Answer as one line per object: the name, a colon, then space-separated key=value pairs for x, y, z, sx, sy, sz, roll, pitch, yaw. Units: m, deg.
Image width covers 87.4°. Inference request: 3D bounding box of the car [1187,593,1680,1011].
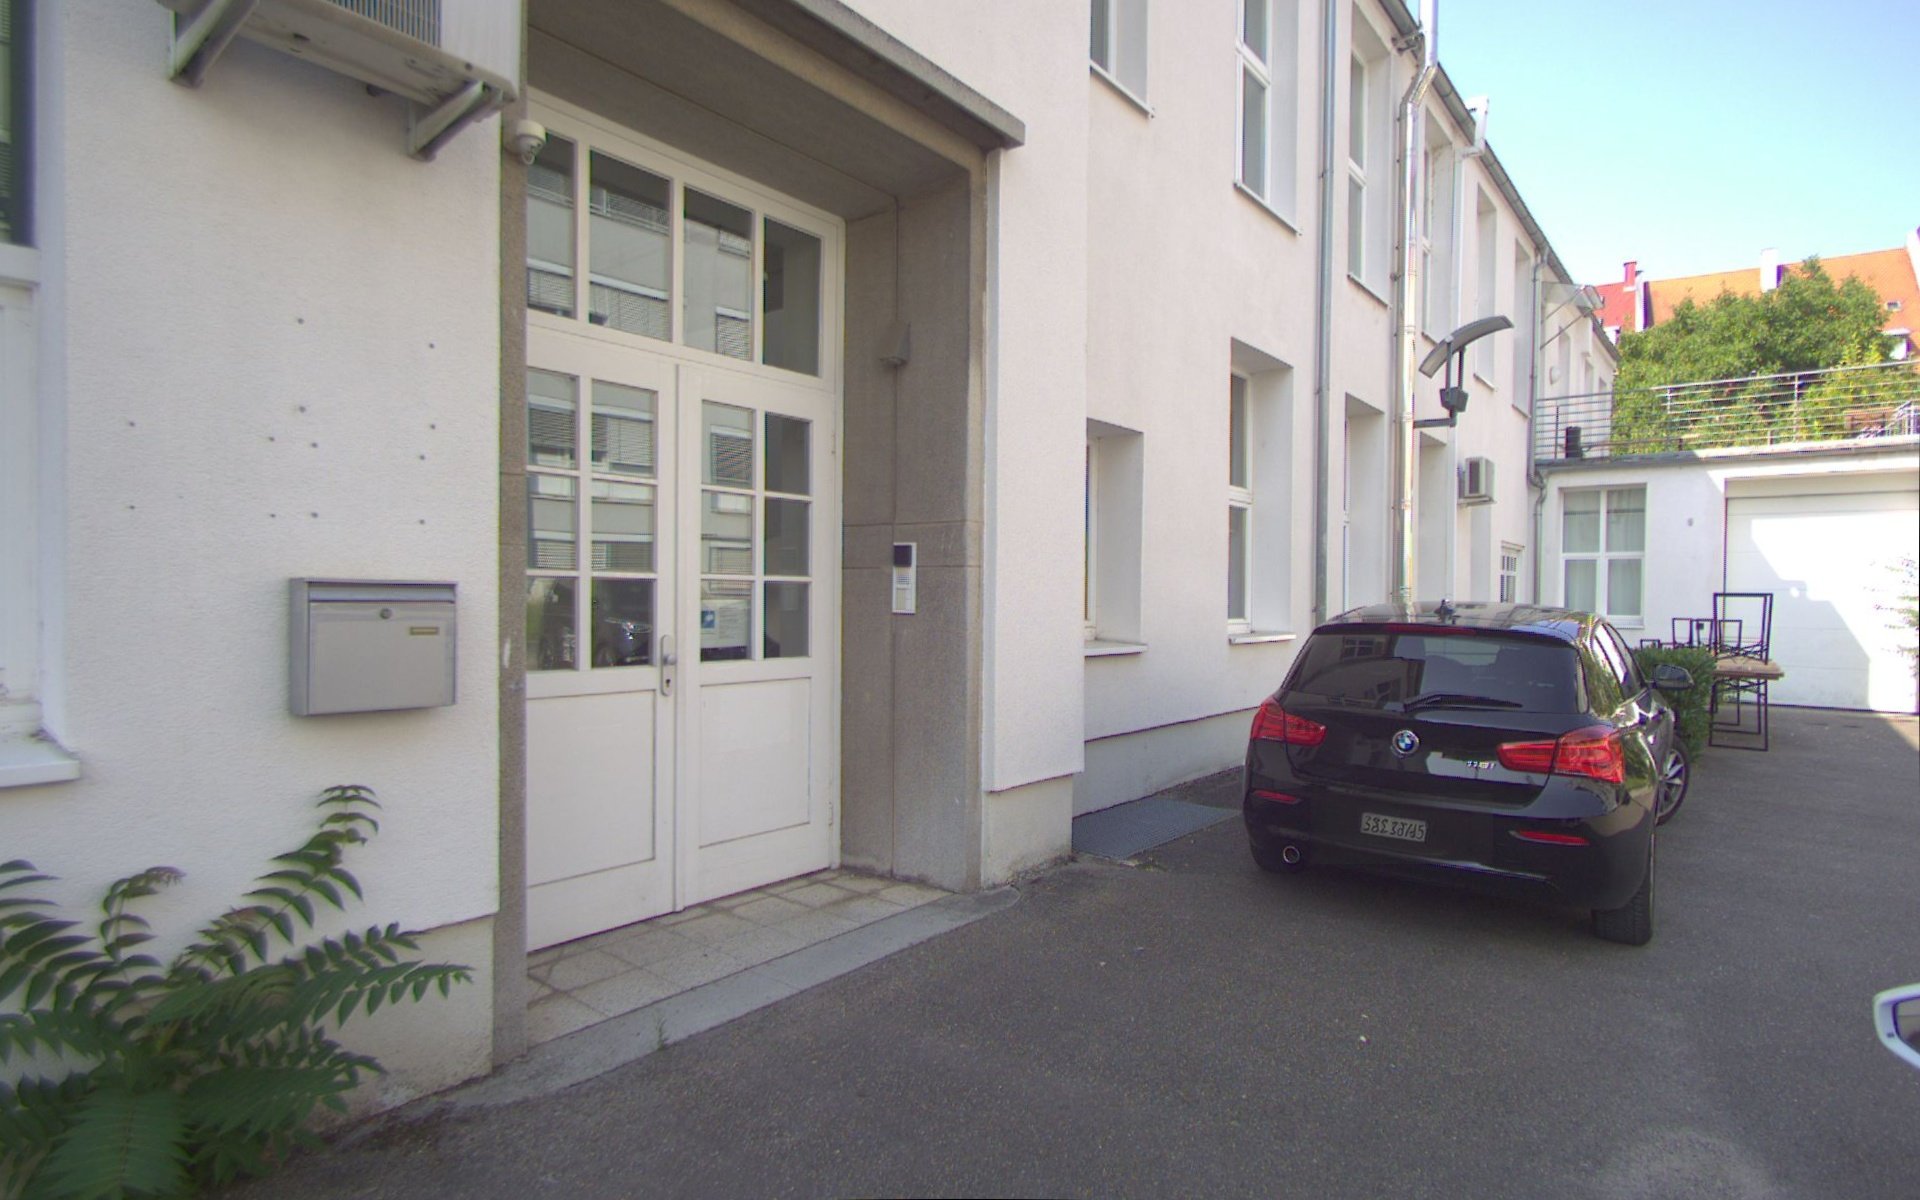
car: x=2.980 y=0.709 z=5.742 sx=1.769 sy=1.448 sz=4.121 roll=2 pitch=1 yaw=36
